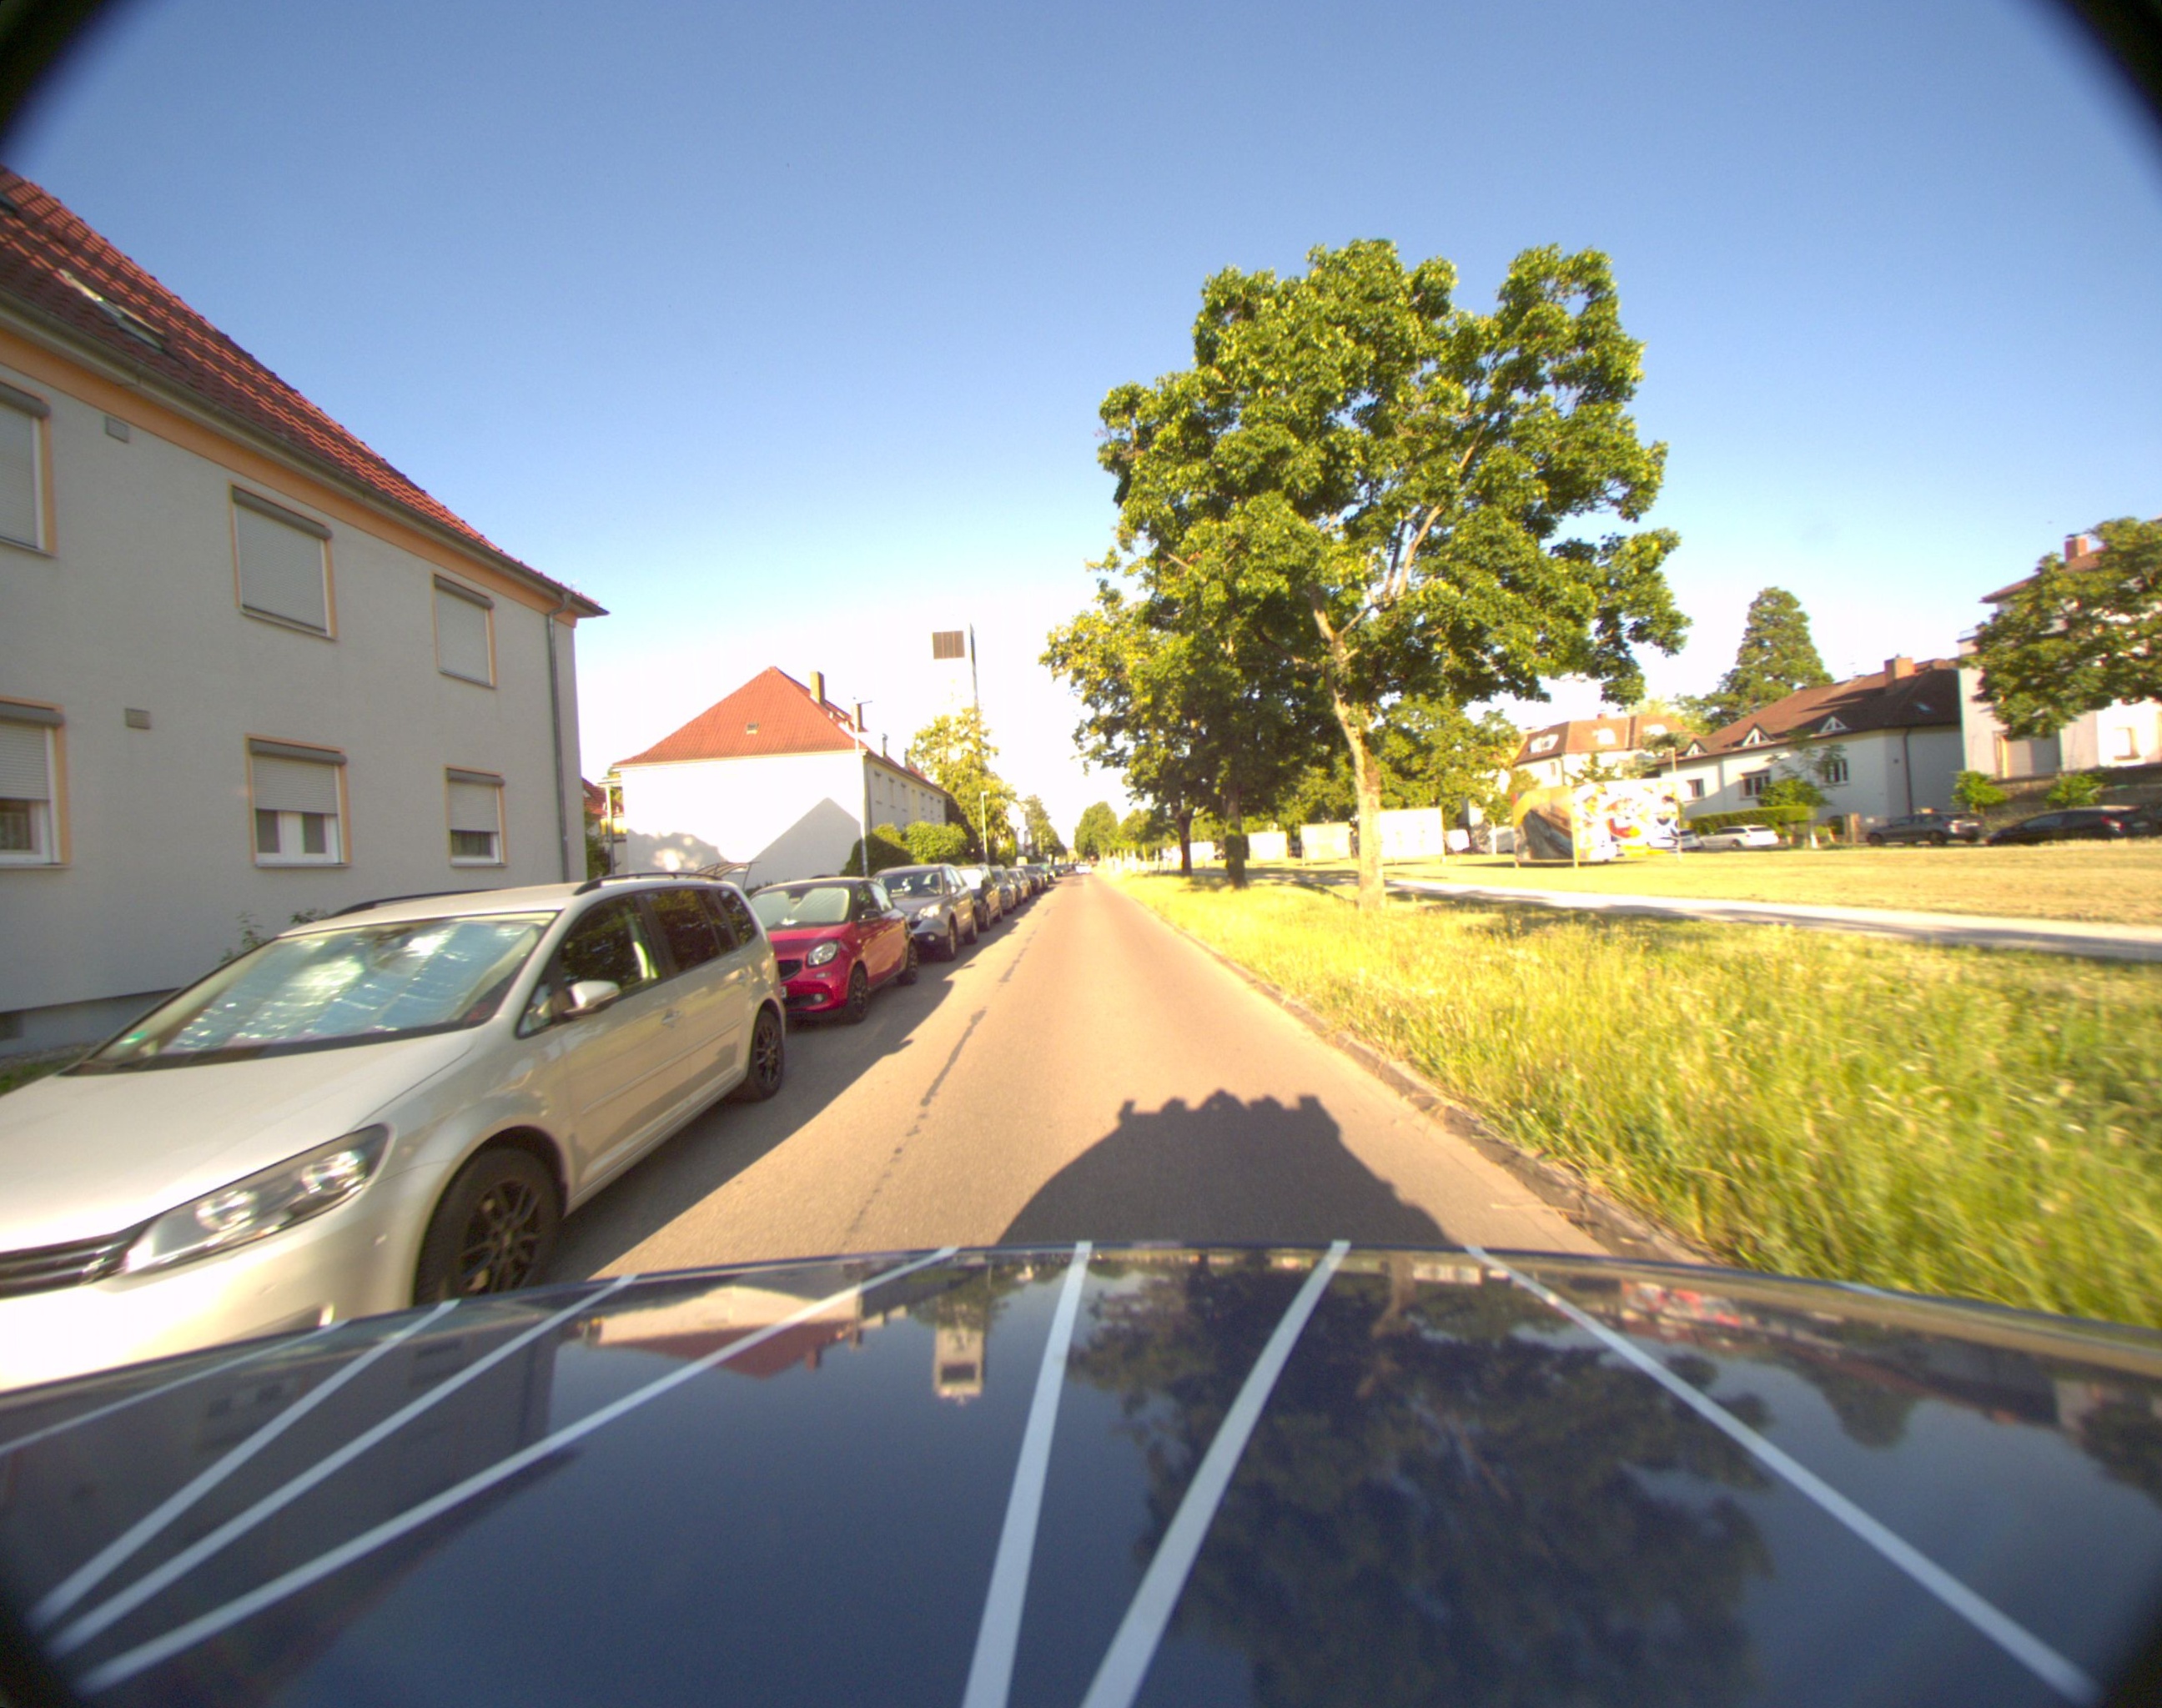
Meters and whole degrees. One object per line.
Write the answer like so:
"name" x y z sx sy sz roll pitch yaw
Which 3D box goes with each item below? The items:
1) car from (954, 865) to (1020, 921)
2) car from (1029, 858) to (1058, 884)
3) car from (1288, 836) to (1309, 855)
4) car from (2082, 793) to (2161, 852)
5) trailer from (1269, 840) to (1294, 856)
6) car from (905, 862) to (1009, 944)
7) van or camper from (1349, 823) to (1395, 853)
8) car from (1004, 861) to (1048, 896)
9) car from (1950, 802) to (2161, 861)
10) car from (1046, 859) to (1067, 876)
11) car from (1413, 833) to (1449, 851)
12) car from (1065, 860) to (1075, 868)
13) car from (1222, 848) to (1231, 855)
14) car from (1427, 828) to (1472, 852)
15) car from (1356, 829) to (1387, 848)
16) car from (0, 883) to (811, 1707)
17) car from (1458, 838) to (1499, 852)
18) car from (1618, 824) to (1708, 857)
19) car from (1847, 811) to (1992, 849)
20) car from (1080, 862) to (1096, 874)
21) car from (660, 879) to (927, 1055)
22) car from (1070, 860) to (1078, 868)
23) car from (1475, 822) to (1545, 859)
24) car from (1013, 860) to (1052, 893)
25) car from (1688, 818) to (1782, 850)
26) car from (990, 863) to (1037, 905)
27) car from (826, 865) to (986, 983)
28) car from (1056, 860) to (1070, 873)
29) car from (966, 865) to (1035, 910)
"car" -3.019 1.208 25.279 1.729 1.552 4.416 -4 0 -3
"car" -2.799 1.249 58.137 1.837 1.721 5.031 -6 0 0
"car" 40.099 -1.605 140.381 1.998 3.230 6.076 -3 -1 0
"car" 40.201 -1.139 27.231 2.243 2.118 4.853 0 1 1
"trailer" 34.231 -1.028 129.804 2.480 2.643 6.635 0 1 0
"car" -3.018 1.134 19.471 1.770 1.625 4.764 -5 0 0
"van or camper" 34.102 -1.802 89.332 2.648 3.243 6.905 -3 -1 1
"car" -2.892 1.271 40.846 1.859 1.647 4.820 -4 -1 1
"car" 34.038 -0.757 26.770 1.894 1.905 4.327 0 1 0
"car" -2.759 1.528 86.434 1.827 1.552 4.622 -9 -1 1
"car" 33.827 -1.154 73.586 1.417 1.555 4.310 -4 0 -1
"car" -2.637 2.414 183.555 2.111 1.396 4.132 -9 -1 1
"car" 34.707 -0.520 181.204 1.894 1.513 3.682 -3 -1 6
"car" 40.583 -1.546 83.942 1.998 2.583 6.089 0 1 0
"car" 34.102 -1.802 89.332 1.998 2.001 4.001 -3 -1 1
"car" -2.994 1.105 3.819 1.721 1.629 4.563 -5 0 -3
"car" 40.286 -0.908 77.125 1.998 1.394 4.562 0 1 4
"car" 34.297 -0.777 44.942 1.838 1.888 4.642 0 1 1
"car" 39.951 -1.082 36.398 1.786 1.693 4.666 0 1 0
"car" 0.870 1.840 100.632 1.999 1.483 4.000 -3 0 0
"car" -3.108 1.137 9.097 1.734 1.517 3.734 -2 0 0
"car" -1.979 3.052 220.371 1.998 2.179 4.001 -3 -1 1
"car" 34.071 -1.063 60.574 2.266 2.809 5.870 0 1 1
"car" -2.896 1.348 46.371 1.938 1.710 4.621 -6 0 0
"car" 40.023 -1.202 46.670 1.734 1.843 4.713 0 1 0
"car" -3.061 1.350 35.404 1.732 1.539 4.207 -8 1 -2
"car" -2.984 1.108 14.034 1.782 1.633 4.756 -3 0 0
"car" -2.762 1.917 118.508 1.999 1.588 4.885 -7 1 -1
"car" -3.126 1.294 30.456 1.998 1.453 4.562 -5 0 2
